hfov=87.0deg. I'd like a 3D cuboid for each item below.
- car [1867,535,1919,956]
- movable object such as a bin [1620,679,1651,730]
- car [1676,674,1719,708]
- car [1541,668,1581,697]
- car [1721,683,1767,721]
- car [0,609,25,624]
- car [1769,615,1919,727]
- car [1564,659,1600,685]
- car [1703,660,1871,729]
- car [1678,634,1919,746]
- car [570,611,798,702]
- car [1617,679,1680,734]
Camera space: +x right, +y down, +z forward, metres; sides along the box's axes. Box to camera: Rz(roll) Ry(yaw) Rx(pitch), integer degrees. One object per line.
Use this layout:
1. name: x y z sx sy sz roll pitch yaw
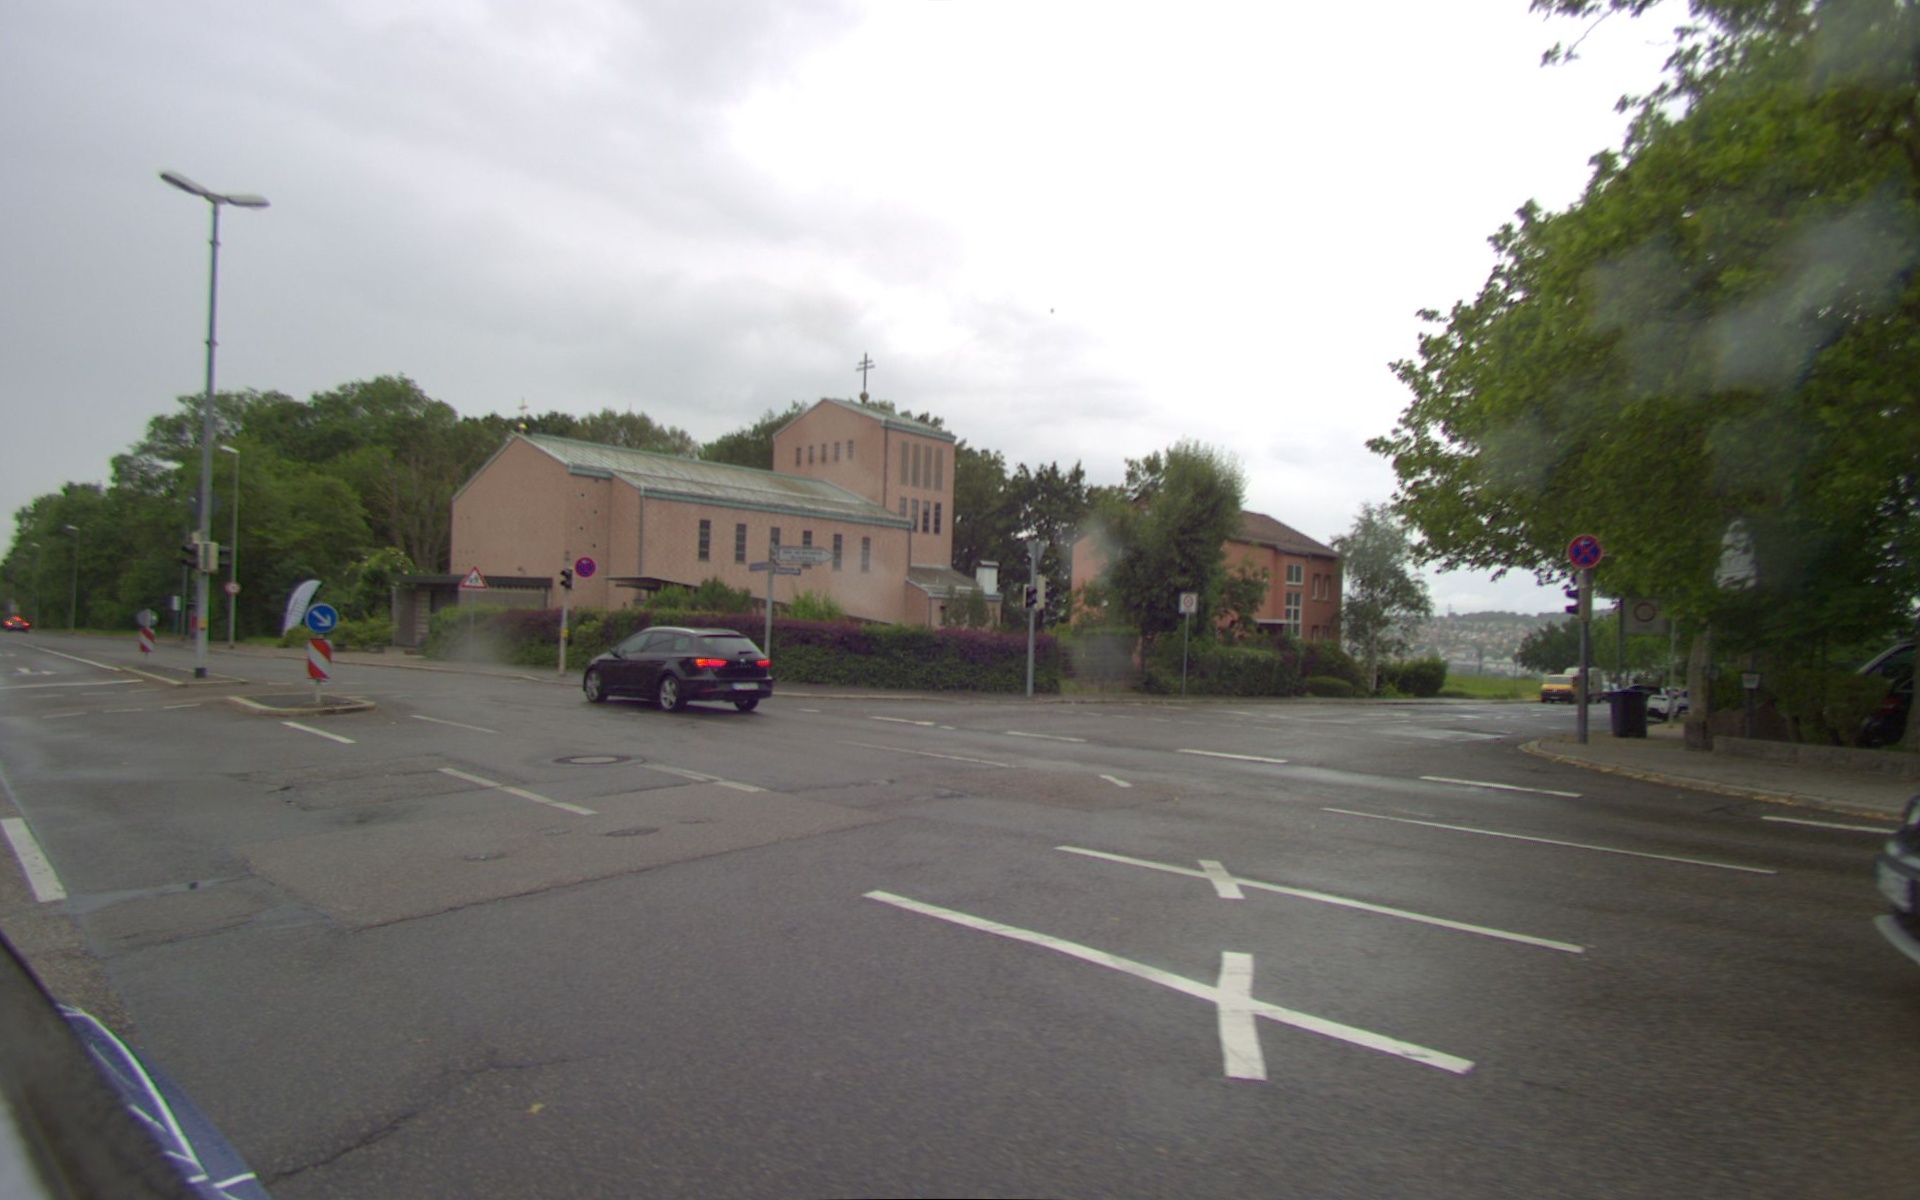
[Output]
1. car: 5.386 0.517 2.419 4.488 1.589 1.884 -1 -2 33
2. movable object such as a bin: 14.893 2.294 22.304 0.444 1.051 0.412 0 0 -30
3. car: 44.082 5.425 60.463 1.710 1.641 3.634 0 0 42
4. car: 40.986 5.564 68.970 1.710 1.641 3.634 0 0 42
5. car: 41.788 5.398 53.949 1.710 1.641 3.634 0 0 42
6. car: -106.120 1.834 113.110 4.316 1.603 1.888 -1 -1 42
7. car: 16.300 1.157 17.031 4.000 1.776 1.789 -5 -3 43
8. car: 46.919 5.410 76.317 1.710 1.641 3.634 0 0 42
9. car: 23.023 2.579 28.241 3.500 1.566 1.786 0 0 45
10. car: 13.965 1.389 15.987 4.000 1.564 1.789 -5 -3 43
11. car: -5.060 0.967 18.238 4.414 1.438 1.888 -1 -3 42
12. car: 28.556 4.367 41.926 1.710 1.822 3.634 0 0 42
